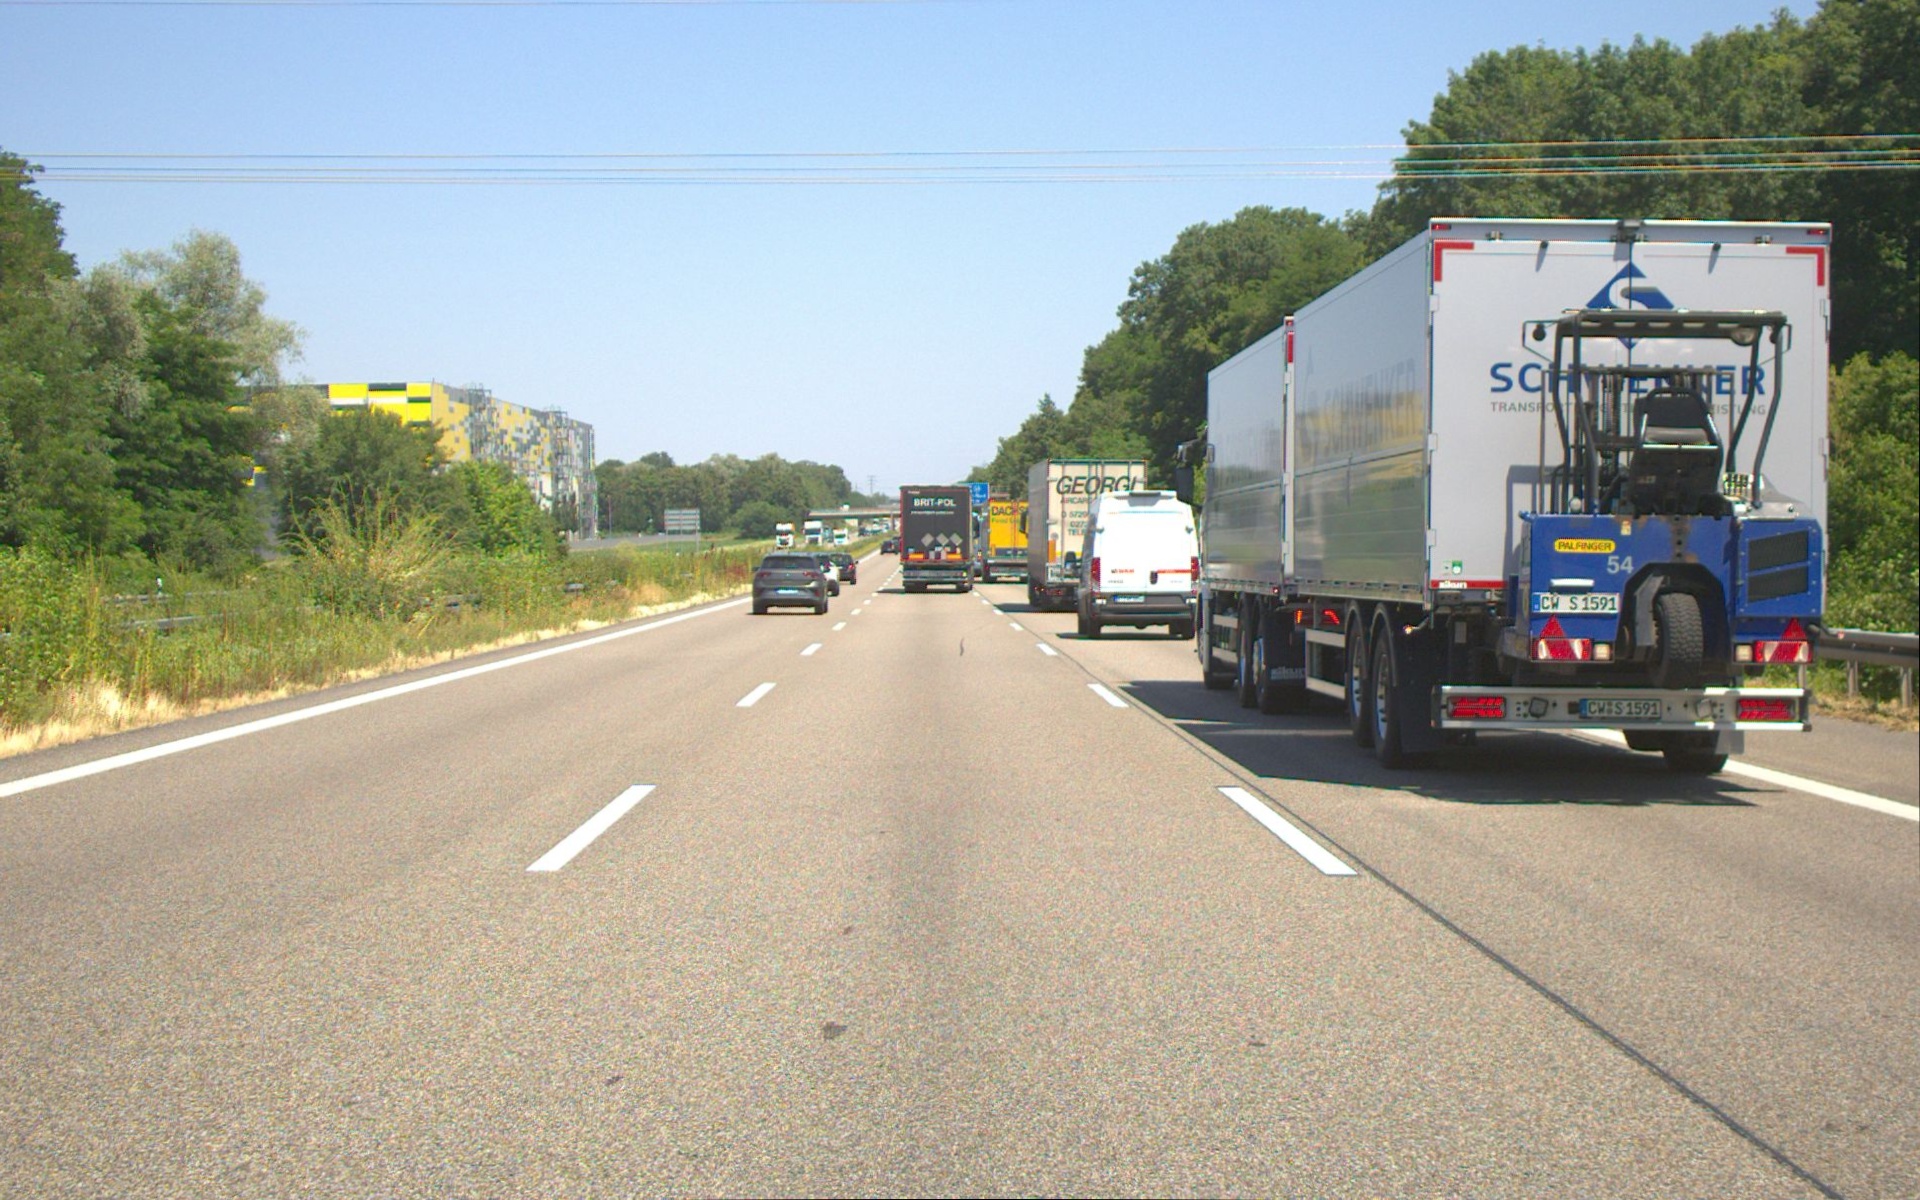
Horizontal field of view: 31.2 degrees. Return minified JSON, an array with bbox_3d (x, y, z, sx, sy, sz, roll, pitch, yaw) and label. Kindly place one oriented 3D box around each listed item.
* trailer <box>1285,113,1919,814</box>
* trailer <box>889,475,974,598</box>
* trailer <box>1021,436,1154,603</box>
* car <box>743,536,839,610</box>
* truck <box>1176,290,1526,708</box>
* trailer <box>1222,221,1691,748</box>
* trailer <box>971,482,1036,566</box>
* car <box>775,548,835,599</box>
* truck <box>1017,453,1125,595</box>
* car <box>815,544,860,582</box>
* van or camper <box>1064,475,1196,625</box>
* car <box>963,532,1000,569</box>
[{"bbox_3d":[4.199,-0.848,24.045,2.945,4.049,8.129,1,1,-1],"label":"trailer"},{"bbox_3d":[-1.195,-2.454,133.587,3.106,4.491,14.897,0,1,-1],"label":"trailer"},{"bbox_3d":[3.410,-2.208,95.192,2.993,4.274,13.419,0,1,-1],"label":"trailer"},{"bbox_3d":[-4.241,-0.712,87.005,2.216,1.784,5.394,-1,1,-1],"label":"car"},{"bbox_3d":[4.003,-1.027,36.740,2.889,4.016,6.870,1,1,0],"label":"truck"},{"bbox_3d":[4.097,-0.939,30.097,2.920,4.027,7.317,1,1,-1],"label":"trailer"},{"bbox_3d":[2.087,-3.707,167.694,2.834,3.940,11.685,0,1,-1],"label":"trailer"},{"bbox_3d":[-5.392,-0.953,120.065,1.993,1.722,4.131,0,1,-1],"label":"car"},{"bbox_3d":[3.273,-2.250,102.741,3.002,4.110,5.253,0,1,-1],"label":"truck"},{"bbox_3d":[-5.663,-1.731,159.295,1.941,1.700,4.000,-1,1,-1],"label":"car"},{"bbox_3d":[3.095,-0.944,63.866,2.022,2.628,6.488,0,1,-1],"label":"van or camper"},{"bbox_3d":[1.188,-2.751,192.425,1.993,2.007,4.000,-1,1,-1],"label":"car"}]
